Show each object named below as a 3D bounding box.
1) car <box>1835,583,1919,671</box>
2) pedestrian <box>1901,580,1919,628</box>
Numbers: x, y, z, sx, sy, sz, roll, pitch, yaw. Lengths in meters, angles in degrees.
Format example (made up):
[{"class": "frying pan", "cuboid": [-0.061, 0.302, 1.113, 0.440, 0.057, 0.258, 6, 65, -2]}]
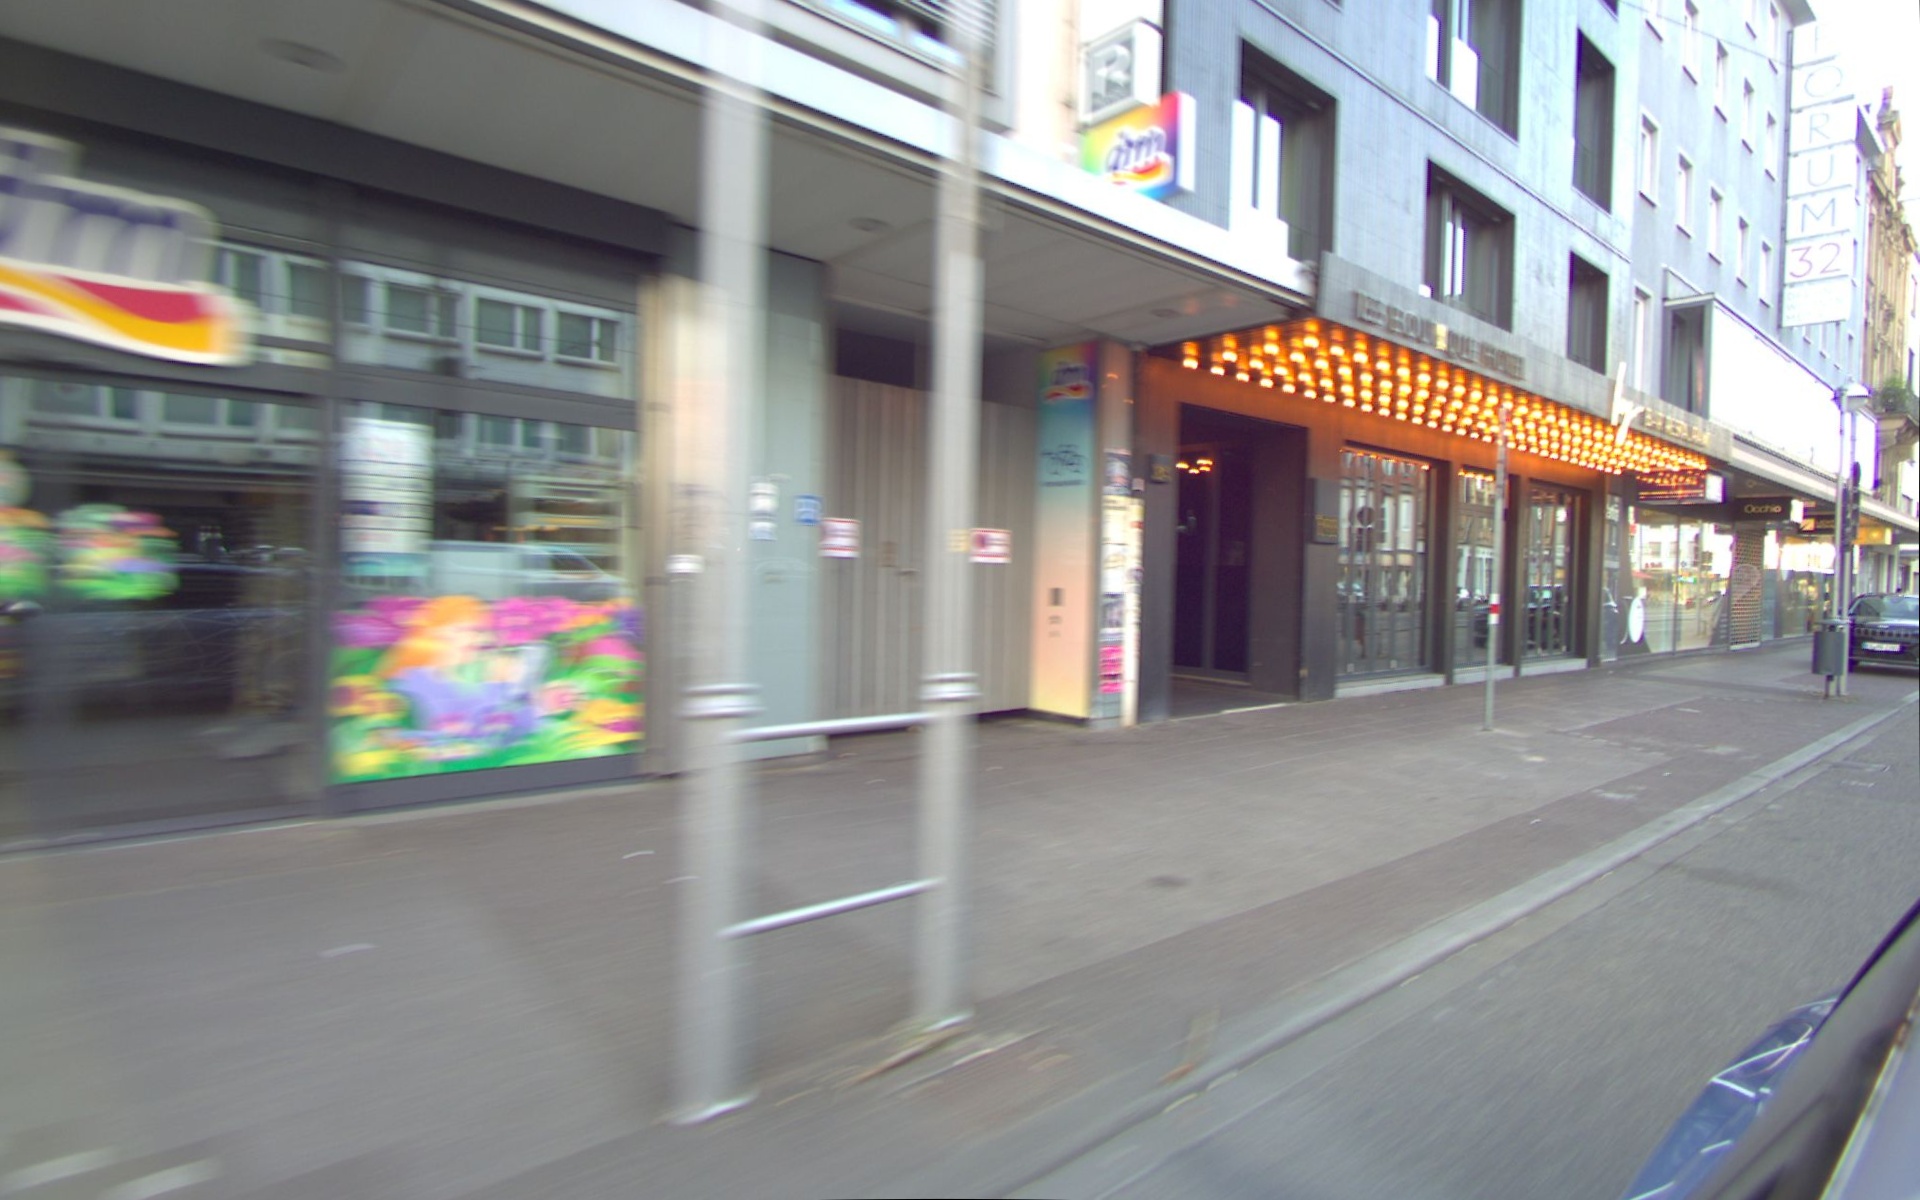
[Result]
[{"class": "car", "cuboid": [18.453, 0.461, 19.602, 3.897, 1.560, 1.743, -1, 2, -41]}, {"class": "pedestrian", "cuboid": [37.028, 0.154, 39.177, 0.776, 1.777, 0.742, 0, 4, -44]}]
